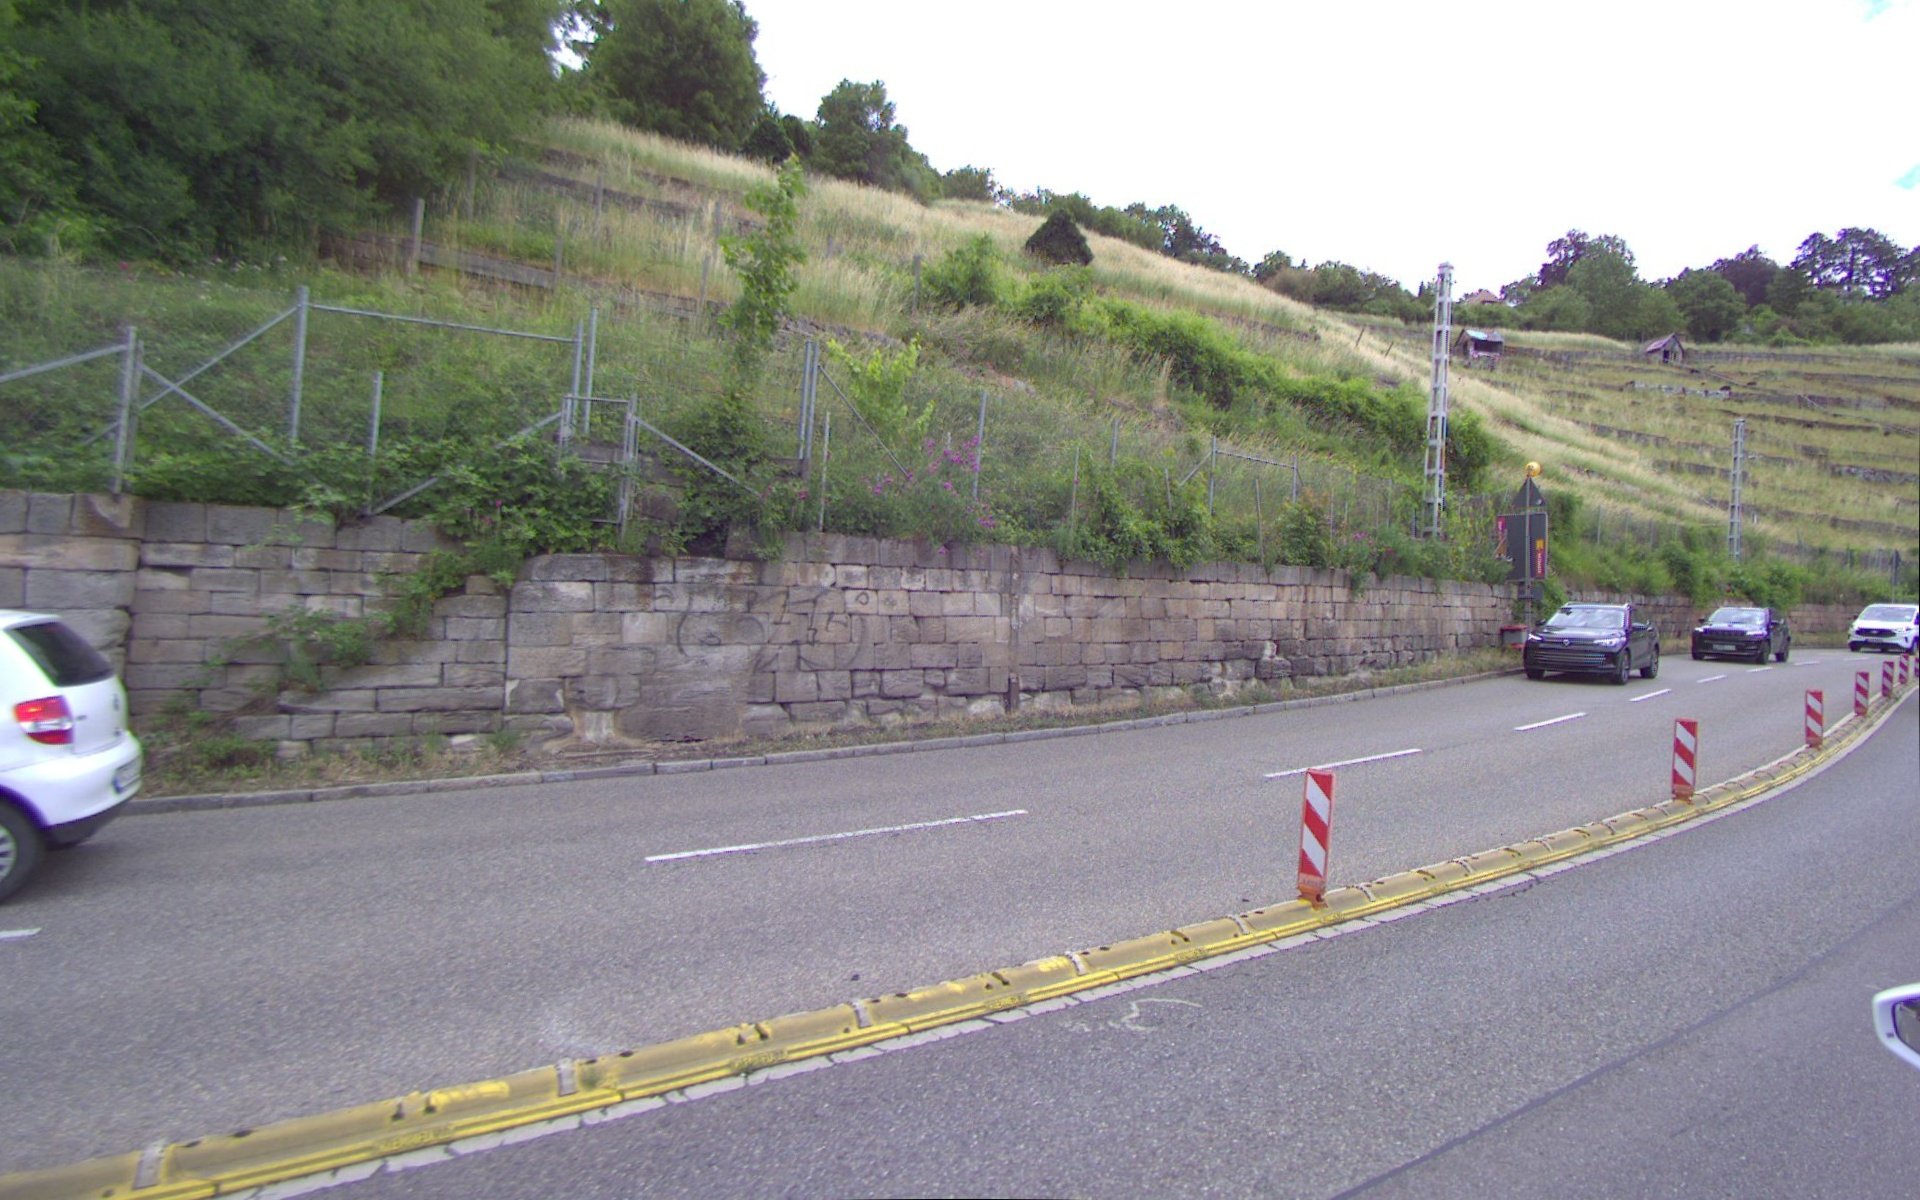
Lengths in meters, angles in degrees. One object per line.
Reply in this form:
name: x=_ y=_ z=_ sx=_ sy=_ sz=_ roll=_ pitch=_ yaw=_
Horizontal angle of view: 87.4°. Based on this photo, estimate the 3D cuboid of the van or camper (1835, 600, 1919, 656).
van or camper: x=37.741 y=1.089 z=40.580 sx=4.906 sy=2.043 sz=2.137 roll=1 pitch=2 yaw=-31

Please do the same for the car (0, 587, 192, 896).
car: x=-6.568 y=0.707 z=5.125 sx=3.952 sy=1.569 sz=1.694 roll=2 pitch=-2 yaw=-30

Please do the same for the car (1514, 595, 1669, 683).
car: x=13.948 y=0.803 z=22.081 sx=4.431 sy=1.749 sz=1.825 roll=1 pitch=0 yaw=-43

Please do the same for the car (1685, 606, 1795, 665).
car: x=23.862 y=1.054 z=30.684 sx=4.315 sy=1.645 sz=1.848 roll=1 pitch=1 yaw=-42
